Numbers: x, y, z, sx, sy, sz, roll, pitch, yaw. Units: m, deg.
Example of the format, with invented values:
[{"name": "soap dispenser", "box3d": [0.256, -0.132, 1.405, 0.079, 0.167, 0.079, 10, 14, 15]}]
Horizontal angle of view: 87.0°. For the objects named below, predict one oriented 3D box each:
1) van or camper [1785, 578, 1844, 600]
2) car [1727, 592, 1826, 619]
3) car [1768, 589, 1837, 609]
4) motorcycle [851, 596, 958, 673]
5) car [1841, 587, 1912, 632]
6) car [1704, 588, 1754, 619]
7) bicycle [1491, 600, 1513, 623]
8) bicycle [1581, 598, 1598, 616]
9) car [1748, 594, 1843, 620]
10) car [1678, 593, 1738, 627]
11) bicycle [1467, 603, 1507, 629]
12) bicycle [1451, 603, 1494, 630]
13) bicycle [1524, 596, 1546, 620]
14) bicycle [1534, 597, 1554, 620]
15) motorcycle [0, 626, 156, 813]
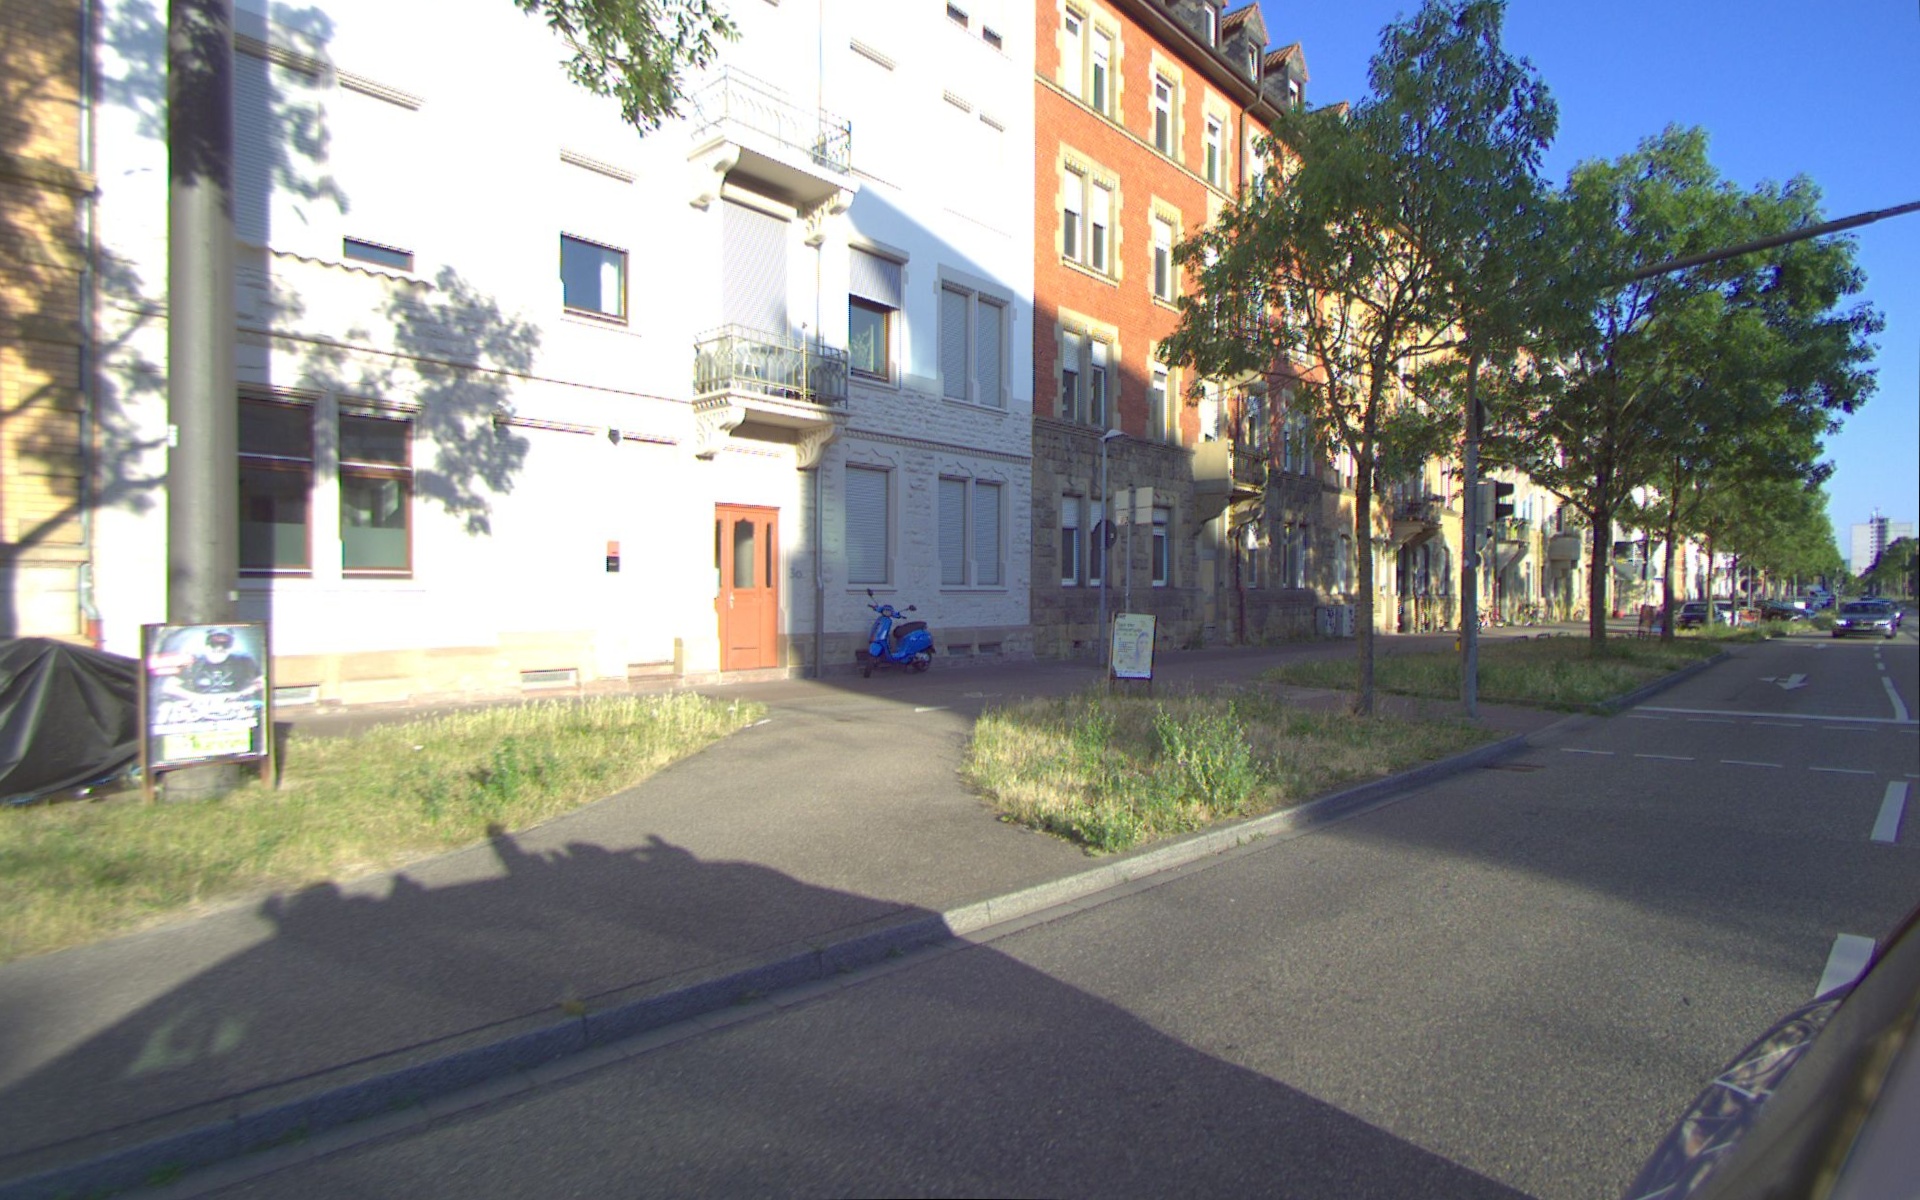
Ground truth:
[{"name": "van or camper", "box3d": [112.120, -1.404, 132.863, 2.158, 2.847, 5.663, 0, 1, -16]}, {"name": "car", "box3d": [49.718, 0.386, 61.706, 1.959, 1.592, 4.349, 0, -1, -15]}, {"name": "car", "box3d": [74.210, -0.073, 89.184, 1.876, 1.713, 4.441, 0, 0, -12]}, {"name": "motorcycle", "box3d": [-0.917, 0.555, 17.237, 0.553, 1.229, 2.042, -1, 0, 40]}, {"name": "car", "box3d": [36.701, 0.339, 40.495, 1.994, 1.686, 3.936, 1, 1, 44]}, {"name": "car", "box3d": [40.364, 0.174, 53.109, 1.724, 1.531, 4.208, -3, -2, 42]}, {"name": "bicycle", "box3d": [25.183, 0.517, 46.994, 0.483, 1.018, 1.719, 0, 0, 42]}, {"name": "bicycle", "box3d": [38.897, 0.414, 62.536, 0.572, 1.087, 1.868, 2, 1, 42]}, {"name": "car", "box3d": [51.859, 0.407, 62.949, 1.808, 1.541, 4.296, 0, 0, -15]}, {"name": "car", "box3d": [34.153, 0.447, 46.158, 1.703, 1.467, 4.222, -3, -2, 43]}, {"name": "bicycle", "box3d": [20.740, 0.611, 39.801, 2.301, 0.960, 0.734, 0, 2, -45]}, {"name": "bicycle", "box3d": [19.158, 0.621, 37.834, 0.872, 0.927, 2.052, 3, 2, 44]}, {"name": "bicycle", "box3d": [29.491, 0.399, 51.890, 0.483, 1.179, 1.719, 7, 5, 42]}, {"name": "bicycle", "box3d": [30.746, 0.433, 53.282, 0.483, 1.179, 1.719, 7, 5, 42]}, {"name": "motorcycle", "box3d": [-5.889, 0.710, 6.023, 1.714, 1.057, 0.605, 0, 0, -41]}]
